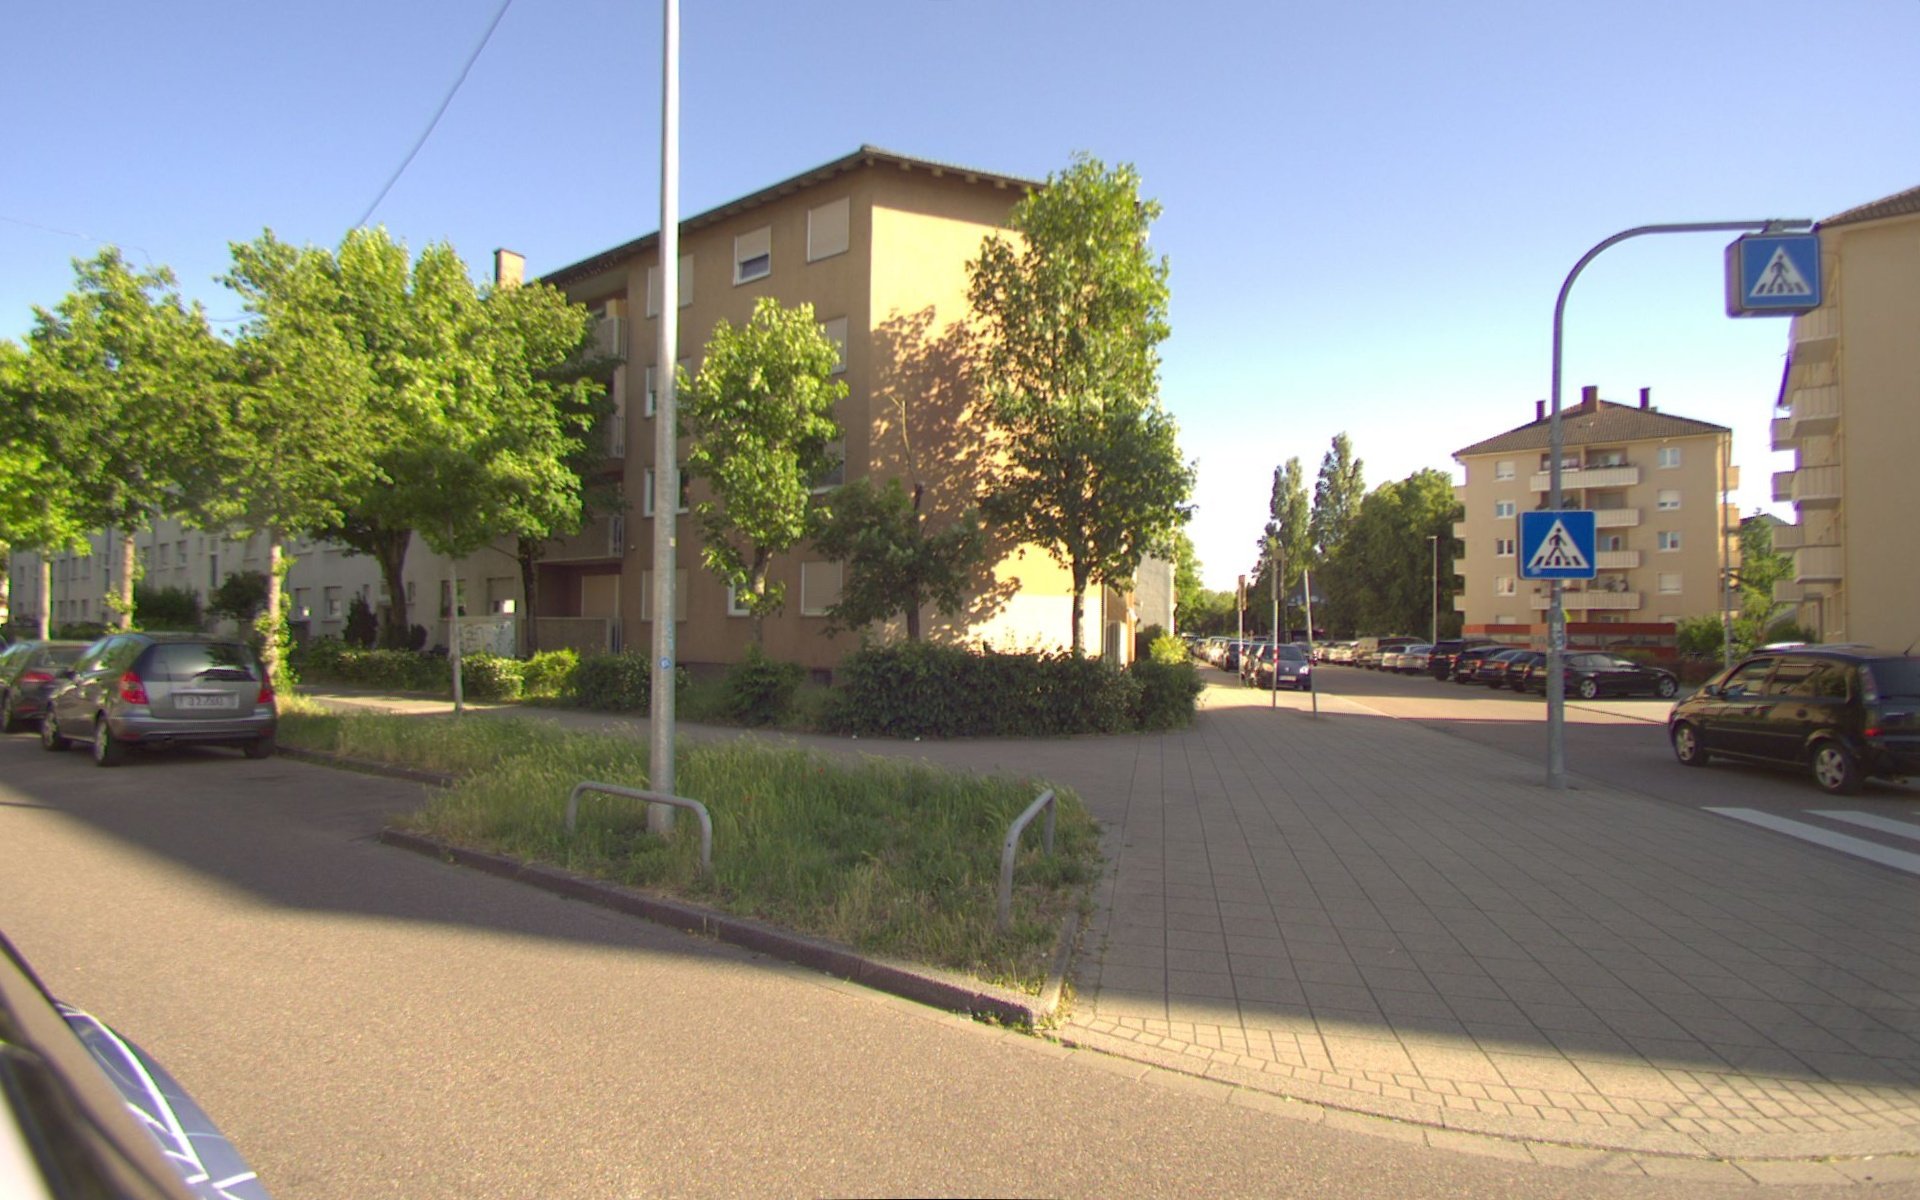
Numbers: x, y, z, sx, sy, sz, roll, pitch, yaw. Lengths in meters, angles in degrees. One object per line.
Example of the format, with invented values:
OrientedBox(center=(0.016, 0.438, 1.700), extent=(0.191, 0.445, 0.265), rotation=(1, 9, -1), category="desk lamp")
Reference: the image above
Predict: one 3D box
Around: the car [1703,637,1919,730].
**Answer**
OrientedBox(center=(17.393, 1.612, 20.361), extent=(3.931, 1.664, 2.006), rotation=(0, -3, -20), category="car")

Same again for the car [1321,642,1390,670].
OrientedBox(center=(27.374, 3.856, 70.112), extent=(3.948, 1.852, 1.998), rotation=(0, 0, 4), category="car")

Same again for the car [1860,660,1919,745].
OrientedBox(center=(15.959, 1.461, 14.859), extent=(4.486, 1.176, 2.006), rotation=(0, -3, -17), category="car")

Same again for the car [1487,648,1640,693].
OrientedBox(center=(19.947, 2.313, 33.547), extent=(3.936, 1.320, 2.004), rotation=(0, -1, -9), category="car")

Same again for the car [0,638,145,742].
OrientedBox(center=(-15.129, 1.388, 16.710), extent=(4.084, 1.405, 1.644), rotation=(0, 0, 37), category="car")

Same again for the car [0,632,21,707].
OrientedBox(center=(-22.268, 1.505, 22.253), extent=(3.993, 1.538, 1.701), rotation=(0, 0, 37), category="car")

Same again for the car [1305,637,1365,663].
OrientedBox(center=(28.997, 3.856, 78.332), extent=(3.948, 1.852, 1.998), rotation=(0, 0, 4), category="car")

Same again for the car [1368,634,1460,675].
OrientedBox(center=(23.906, 2.857, 53.385), extent=(3.937, 2.029, 2.003), rotation=(0, 0, -7), category="car")

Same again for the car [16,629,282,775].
OrientedBox(center=(-10.664, 1.212, 13.222), extent=(4.101, 1.574, 1.704), rotation=(0, -3, 37), category="car")

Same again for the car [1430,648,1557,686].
OrientedBox(center=(20.871, 2.604, 39.655), extent=(3.936, 1.320, 2.004), rotation=(0, -1, -9), category="car")

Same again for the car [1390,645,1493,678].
OrientedBox(center=(22.874, 2.899, 48.163), extent=(3.936, 1.408, 2.004), rotation=(0, 0, -9), category="car")

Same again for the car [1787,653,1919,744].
OrientedBox(center=(17.189, 1.665, 17.713), extent=(4.486, 1.442, 2.006), rotation=(1, -3, -17), category="car")

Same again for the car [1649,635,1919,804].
OrientedBox(center=(10.405, 1.269, 12.130), extent=(1.721, 1.541, 4.107), rotation=(0, 0, 5), category="car")

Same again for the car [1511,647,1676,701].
OrientedBox(center=(19.027, 2.189, 30.470), extent=(3.933, 1.412, 2.005), rotation=(0, 0, -13), category="car")

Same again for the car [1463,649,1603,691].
OrientedBox(center=(20.484, 2.466, 36.249), extent=(3.936, 1.320, 2.004), rotation=(0, -1, -9), category="car")

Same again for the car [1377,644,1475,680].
OrientedBox(center=(23.374, 3.079, 50.849), extent=(3.942, 1.652, 2.001), rotation=(0, 0, -2), category="car")

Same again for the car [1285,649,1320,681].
OrientedBox(center=(22.148, 4.178, 65.559), extent=(1.983, 1.851, 3.977), rotation=(0, 0, 18), category="car")

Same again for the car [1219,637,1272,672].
OrientedBox(center=(13.727, 2.582, 48.894), extent=(1.978, 1.475, 3.988), rotation=(-2, -1, 9), category="car")

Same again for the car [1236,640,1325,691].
OrientedBox(center=(10.489, 2.109, 33.386), extent=(1.885, 1.526, 3.994), rotation=(1, -2, 4), category="car")

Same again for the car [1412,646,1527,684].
OrientedBox(center=(21.463, 2.713, 42.665), extent=(3.933, 1.264, 2.006), rotation=(-2, 0, -14), category="car")

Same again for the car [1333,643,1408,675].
OrientedBox(center=(25.981, 3.725, 64.118), extent=(3.948, 1.852, 1.998), rotation=(0, 0, 4), category="car")

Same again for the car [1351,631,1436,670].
OrientedBox(center=(24.572, 2.851, 57.398), extent=(3.936, 2.029, 2.004), rotation=(0, 0, -9), category="car")
